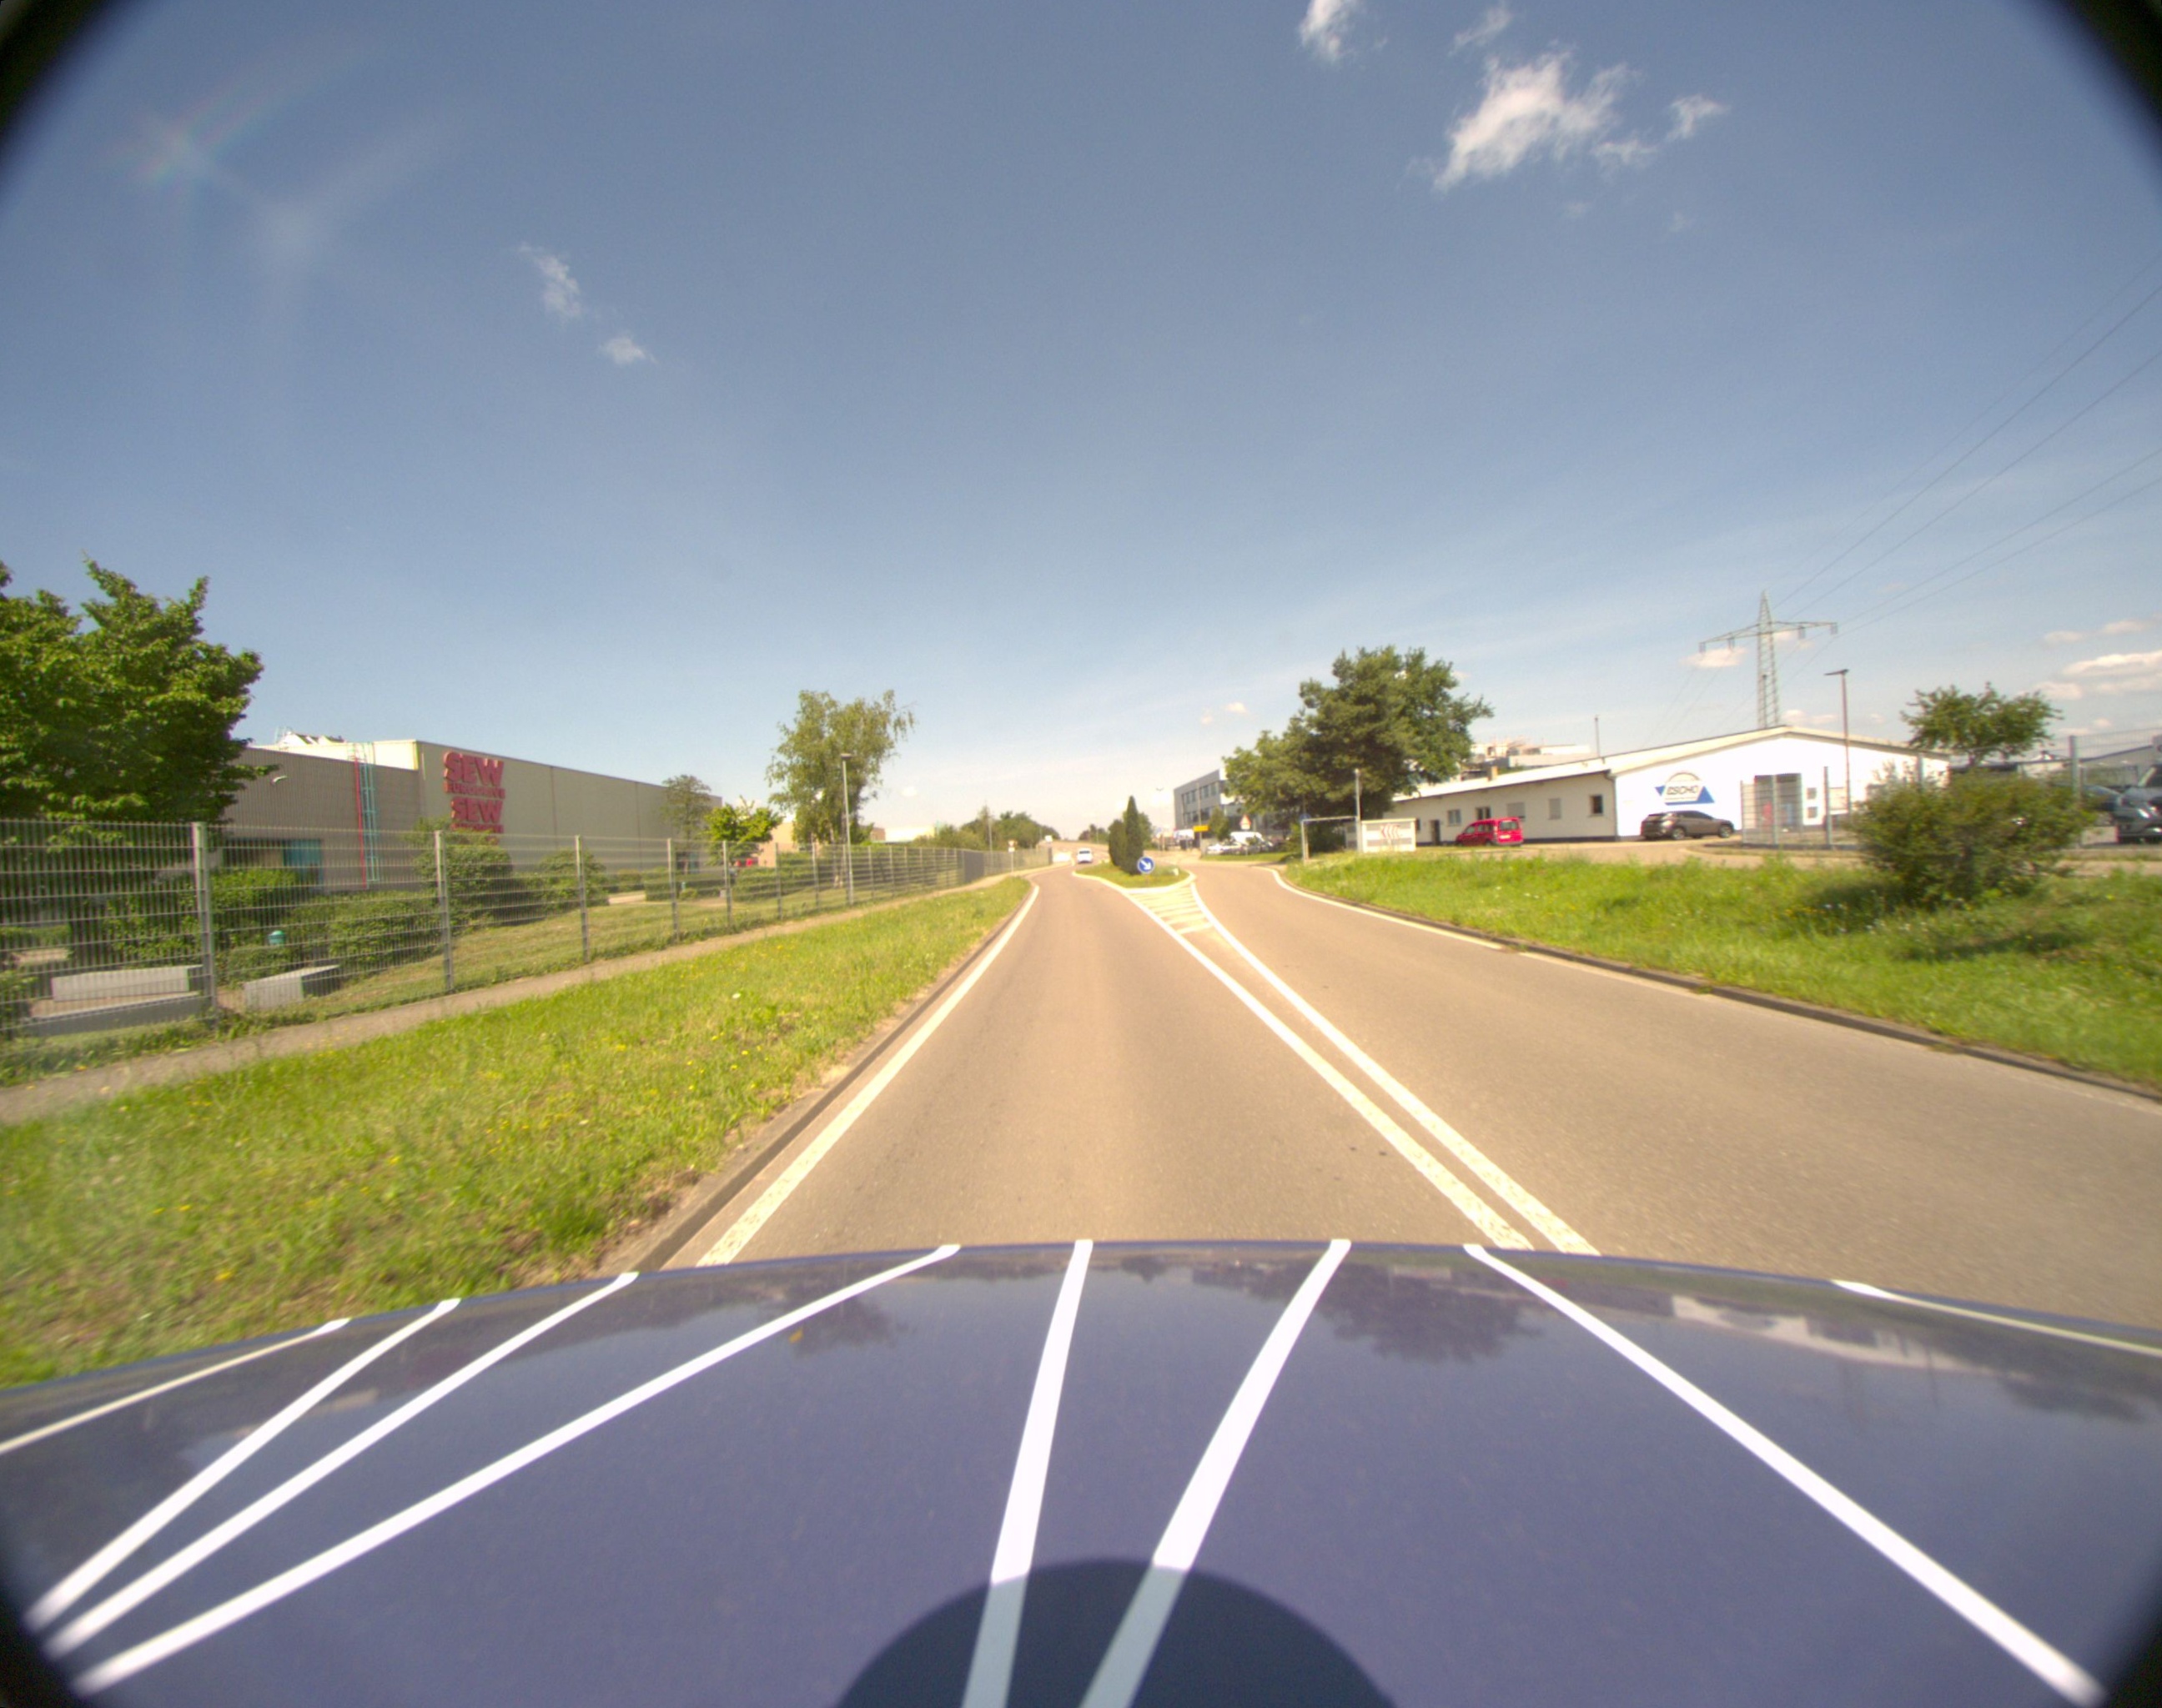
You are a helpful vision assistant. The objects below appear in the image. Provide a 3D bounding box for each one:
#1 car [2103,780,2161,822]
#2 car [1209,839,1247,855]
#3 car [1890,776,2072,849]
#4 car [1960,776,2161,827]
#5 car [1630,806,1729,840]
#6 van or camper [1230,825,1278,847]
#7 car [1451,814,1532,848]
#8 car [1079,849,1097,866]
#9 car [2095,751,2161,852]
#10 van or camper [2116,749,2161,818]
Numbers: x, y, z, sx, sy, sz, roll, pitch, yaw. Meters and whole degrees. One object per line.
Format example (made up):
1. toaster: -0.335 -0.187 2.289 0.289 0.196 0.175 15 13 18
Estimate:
1. car: 39.918 -1.997 26.929 1.925 1.425 3.999 -4 1 -2
2. car: 16.699 -0.820 86.430 3.996 1.510 2.000 -3 1 4
3. car: 20.199 -0.934 17.055 3.574 1.393 1.797 -4 1 -26
4. car: 34.267 -1.789 26.698 1.926 1.425 3.997 -4 1 -8
5. car: 32.393 -1.672 41.167 3.999 1.516 1.935 -4 1 -8
6. van or camper: 22.212 -2.246 97.327 5.575 2.483 2.081 -3 2 25
7. car: 23.310 -1.278 43.352 1.999 1.734 4.227 -3 1 -4
8. car: 0.908 0.456 96.495 1.998 1.904 4.000 -3 1 4
9. car: 20.393 -1.040 13.948 4.114 1.695 1.719 -4 1 -31
10. van or camper: 42.661 -2.796 27.121 1.999 2.584 6.768 -4 1 -2
